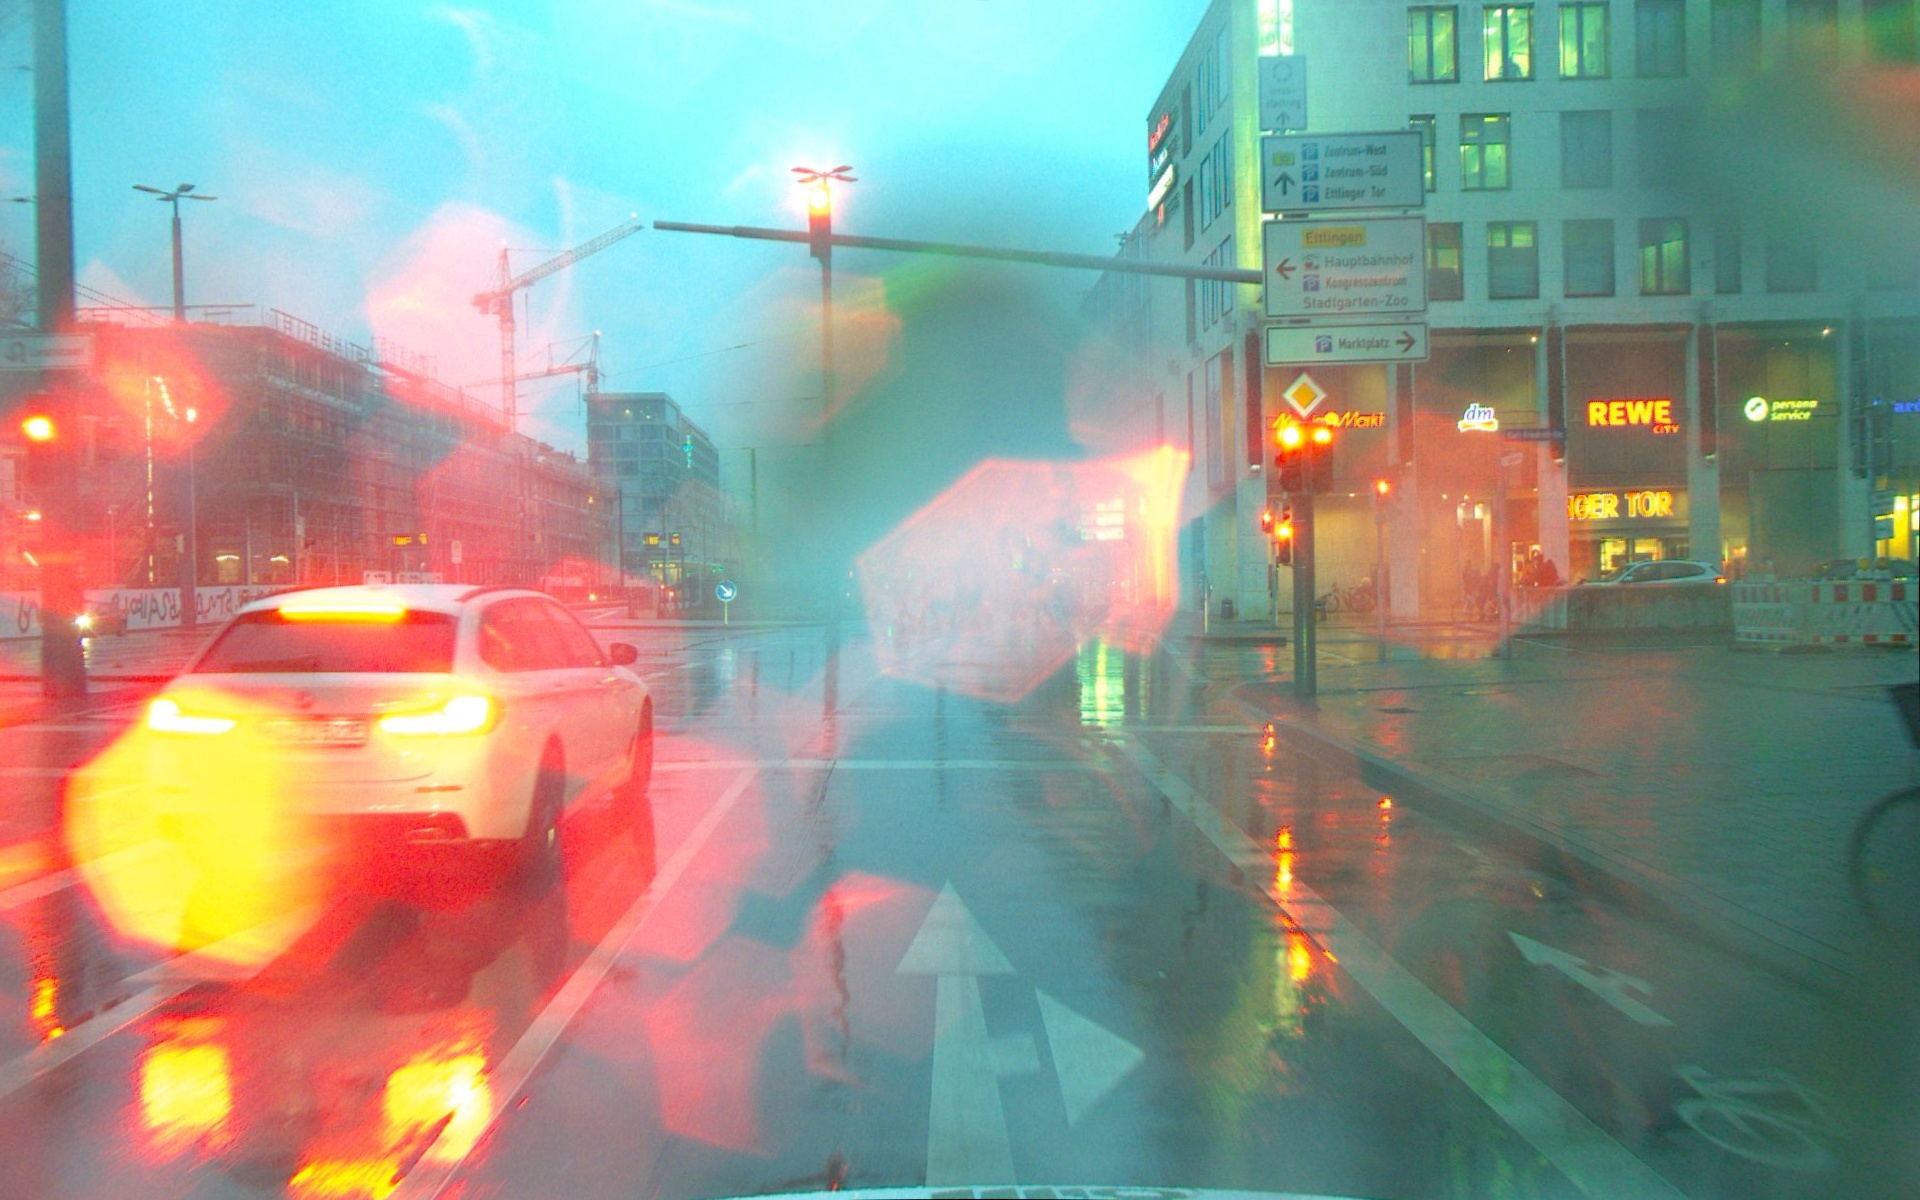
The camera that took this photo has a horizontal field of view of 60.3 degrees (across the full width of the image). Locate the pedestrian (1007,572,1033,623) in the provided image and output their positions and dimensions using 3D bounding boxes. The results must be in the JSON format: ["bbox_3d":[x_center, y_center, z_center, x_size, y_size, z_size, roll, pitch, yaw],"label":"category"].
[{"bbox_3d":[2.025,-0.085,56.338,0.814,1.708,0.619,-1,0,-2],"label":"pedestrian"}]

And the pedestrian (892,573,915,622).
[{"bbox_3d":[-1.914,-0.077,56.355,0.692,1.647,0.680,-1,0,1],"label":"pedestrian"}]

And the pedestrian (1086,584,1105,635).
[{"bbox_3d":[4.852,0.338,59.221,0.605,1.791,0.482,-1,0,0],"label":"pedestrian"}]

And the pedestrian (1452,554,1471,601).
[{"bbox_3d":[19.008,-0.850,62.673,0.526,1.747,0.500,-1,0,38],"label":"pedestrian"}]

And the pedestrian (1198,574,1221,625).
[{"bbox_3d":[8.870,-0.008,58.849,0.688,1.791,0.652,-1,0,0],"label":"pedestrian"}]

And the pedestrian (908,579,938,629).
[{"bbox_3d":[-1.238,0.130,55.035,0.802,1.647,0.537,-1,0,38],"label":"pedestrian"}]

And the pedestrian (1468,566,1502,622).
[{"bbox_3d":[15.225,-0.185,47.962,0.798,1.597,0.536,-1,0,-3],"label":"pedestrian"}]

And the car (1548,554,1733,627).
[{"bbox_3d":[18.053,-0.255,43.992,4.213,1.792,1.708,-1,1,3],"label":"car"}]

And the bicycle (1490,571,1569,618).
[{"bbox_3d":[14.270,-0.141,41.479,1.806,1.112,0.618,-1,0,15],"label":"bicycle"}]

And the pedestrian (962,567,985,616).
[{"bbox_3d":[0.473,-0.303,57.639,0.725,1.696,0.401,-1,0,6],"label":"pedestrian"}]

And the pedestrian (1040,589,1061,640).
[{"bbox_3d":[3.182,0.506,58.254,0.688,1.791,0.667,-1,0,0],"label":"pedestrian"}]

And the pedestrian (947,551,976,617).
[{"bbox_3d":[0.061,-0.527,53.536,0.681,2.124,0.604,-1,0,-40],"label":"pedestrian"}]

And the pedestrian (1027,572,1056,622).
[{"bbox_3d":[2.833,-0.106,57.257,0.828,1.718,0.675,-1,0,-11],"label":"pedestrian"}]

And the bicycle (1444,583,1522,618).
[{"bbox_3d":[15.157,0.014,47.952,2.085,1.009,0.541,0,0,-2],"label":"bicycle"}]

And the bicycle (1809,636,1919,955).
[{"bbox_3d":[4.330,0.708,6.542,1.716,1.168,0.435,-3,0,-5],"label":"bicycle"}]

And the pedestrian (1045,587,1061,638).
[{"bbox_3d":[3.324,0.454,59.122,0.501,1.791,0.374,-1,0,0],"label":"pedestrian"}]

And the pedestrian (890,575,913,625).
[{"bbox_3d":[-1.935,-0.004,54.671,0.692,1.647,0.613,-1,0,-2],"label":"pedestrian"}]

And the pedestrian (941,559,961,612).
[{"bbox_3d":[-0.311,-0.478,56.190,0.607,1.776,0.612,-1,0,-5],"label":"pedestrian"}]

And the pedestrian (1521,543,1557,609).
[{"bbox_3d":[14.494,-0.606,41.400,0.764,1.623,0.613,-1,0,15],"label":"pedestrian"}]

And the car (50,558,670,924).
[{"bbox_3d":[-3.048,0.591,9.683,1.871,1.547,4.923,-1,1,-1],"label":"car"}]

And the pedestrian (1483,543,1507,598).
[{"bbox_3d":[16.668,-0.917,51.563,0.526,1.714,0.547,-1,0,38],"label":"pedestrian"}]

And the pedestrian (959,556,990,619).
[{"bbox_3d":[0.469,-0.425,54.617,0.770,2.049,0.605,-1,0,-38],"label":"pedestrian"}]

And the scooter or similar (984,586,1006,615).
[{"bbox_3d":[1.209,0.018,57.565,0.725,1.010,0.401,-1,0,6],"label":"scooter or similar"}]

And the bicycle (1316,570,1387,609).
[{"bbox_3d":[14.114,-0.387,59.641,2.378,1.352,0.634,-1,1,-5],"label":"bicycle"}]
